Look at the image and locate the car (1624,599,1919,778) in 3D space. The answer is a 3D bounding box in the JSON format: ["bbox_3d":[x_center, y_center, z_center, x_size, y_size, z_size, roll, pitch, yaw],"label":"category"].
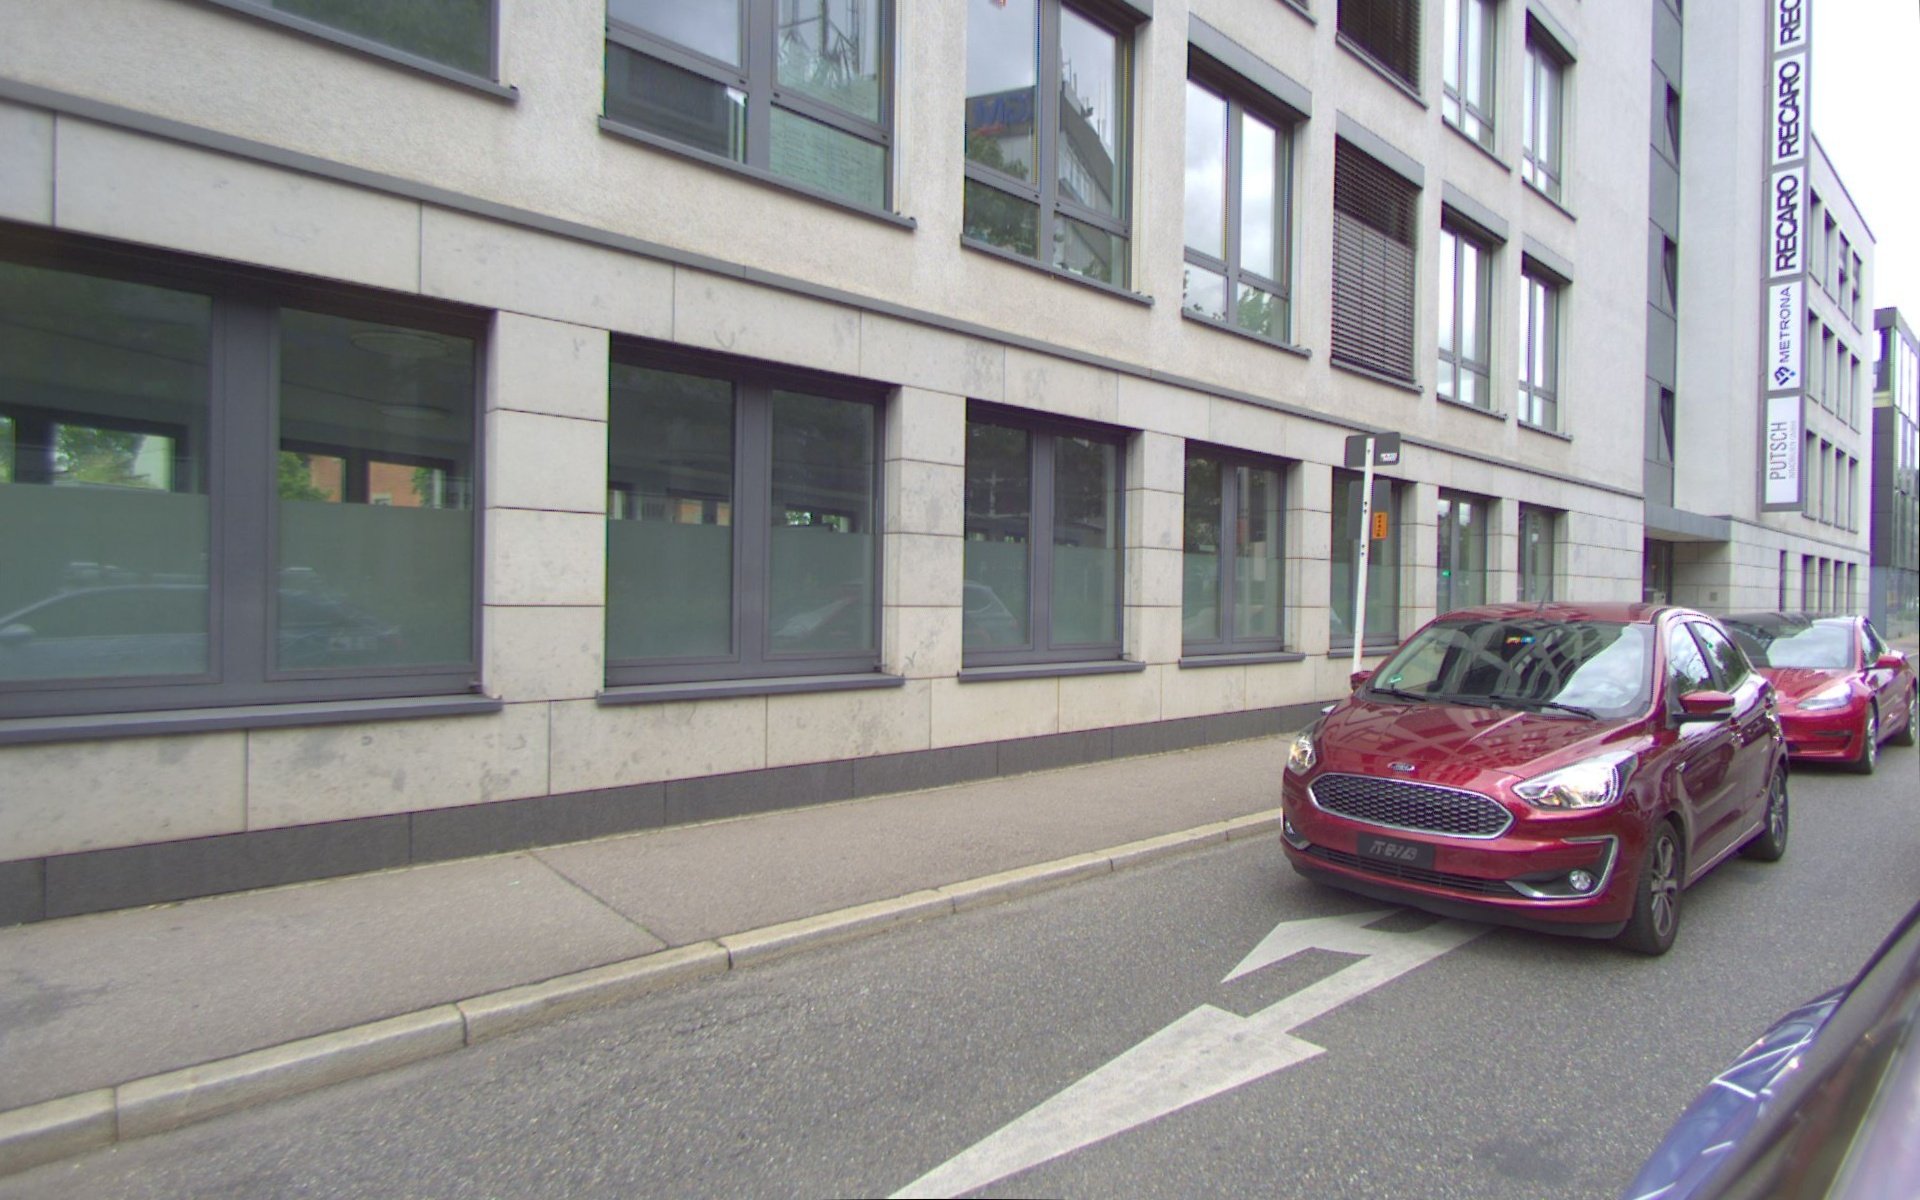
[{"bbox_3d":[8.617,0.744,10.461,4.331,1.476,1.823,0,-1,-41],"label":"car"}]

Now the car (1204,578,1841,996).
[{"bbox_3d":[3.338,0.703,5.691,3.930,1.511,1.888,0,-2,-41],"label":"car"}]
